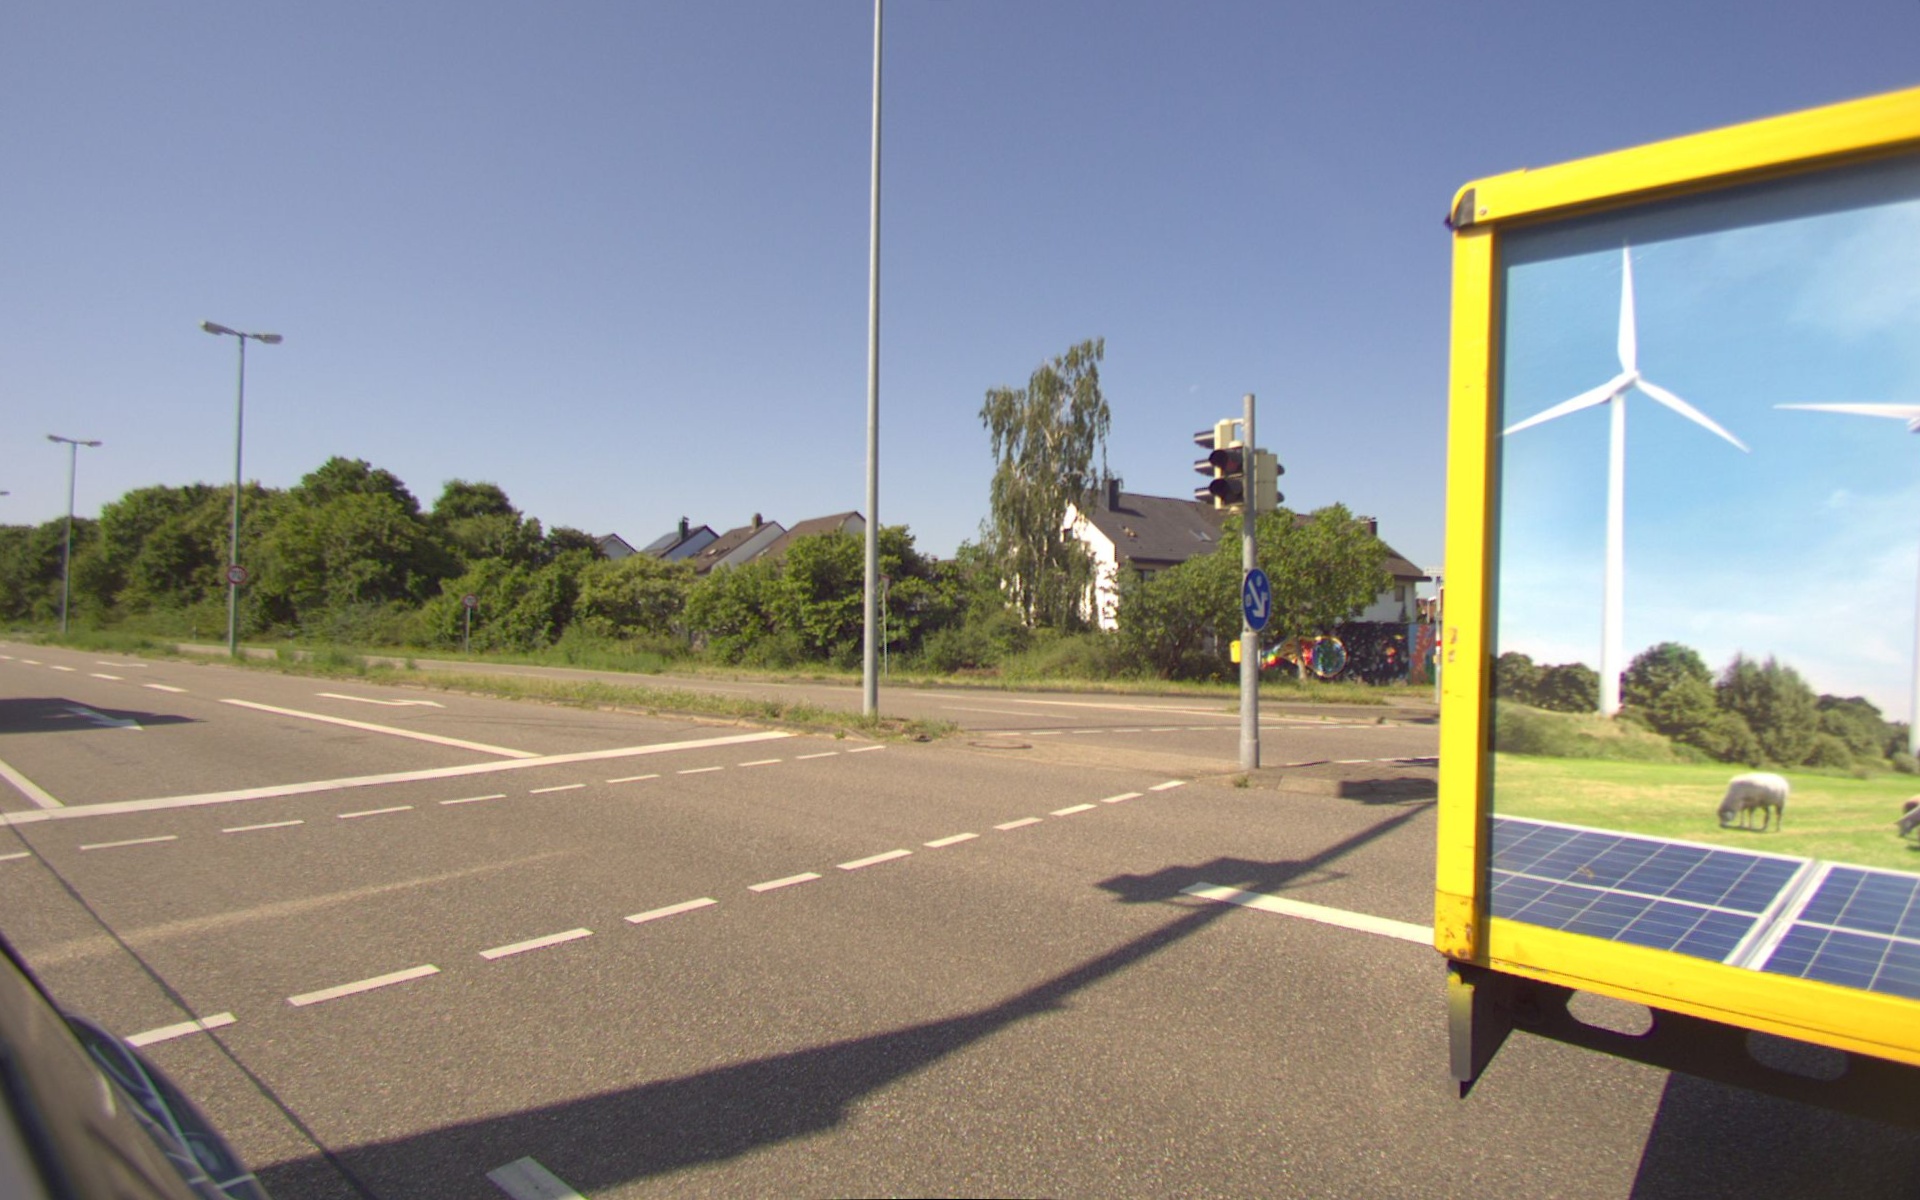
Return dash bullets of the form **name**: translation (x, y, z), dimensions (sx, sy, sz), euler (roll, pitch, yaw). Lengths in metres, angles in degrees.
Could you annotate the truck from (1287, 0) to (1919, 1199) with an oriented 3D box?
- **truck**: translation (3.565, 0.160, 0.880), dimensions (5.913, 2.476, 2.090), euler (-1, -1, 41)
